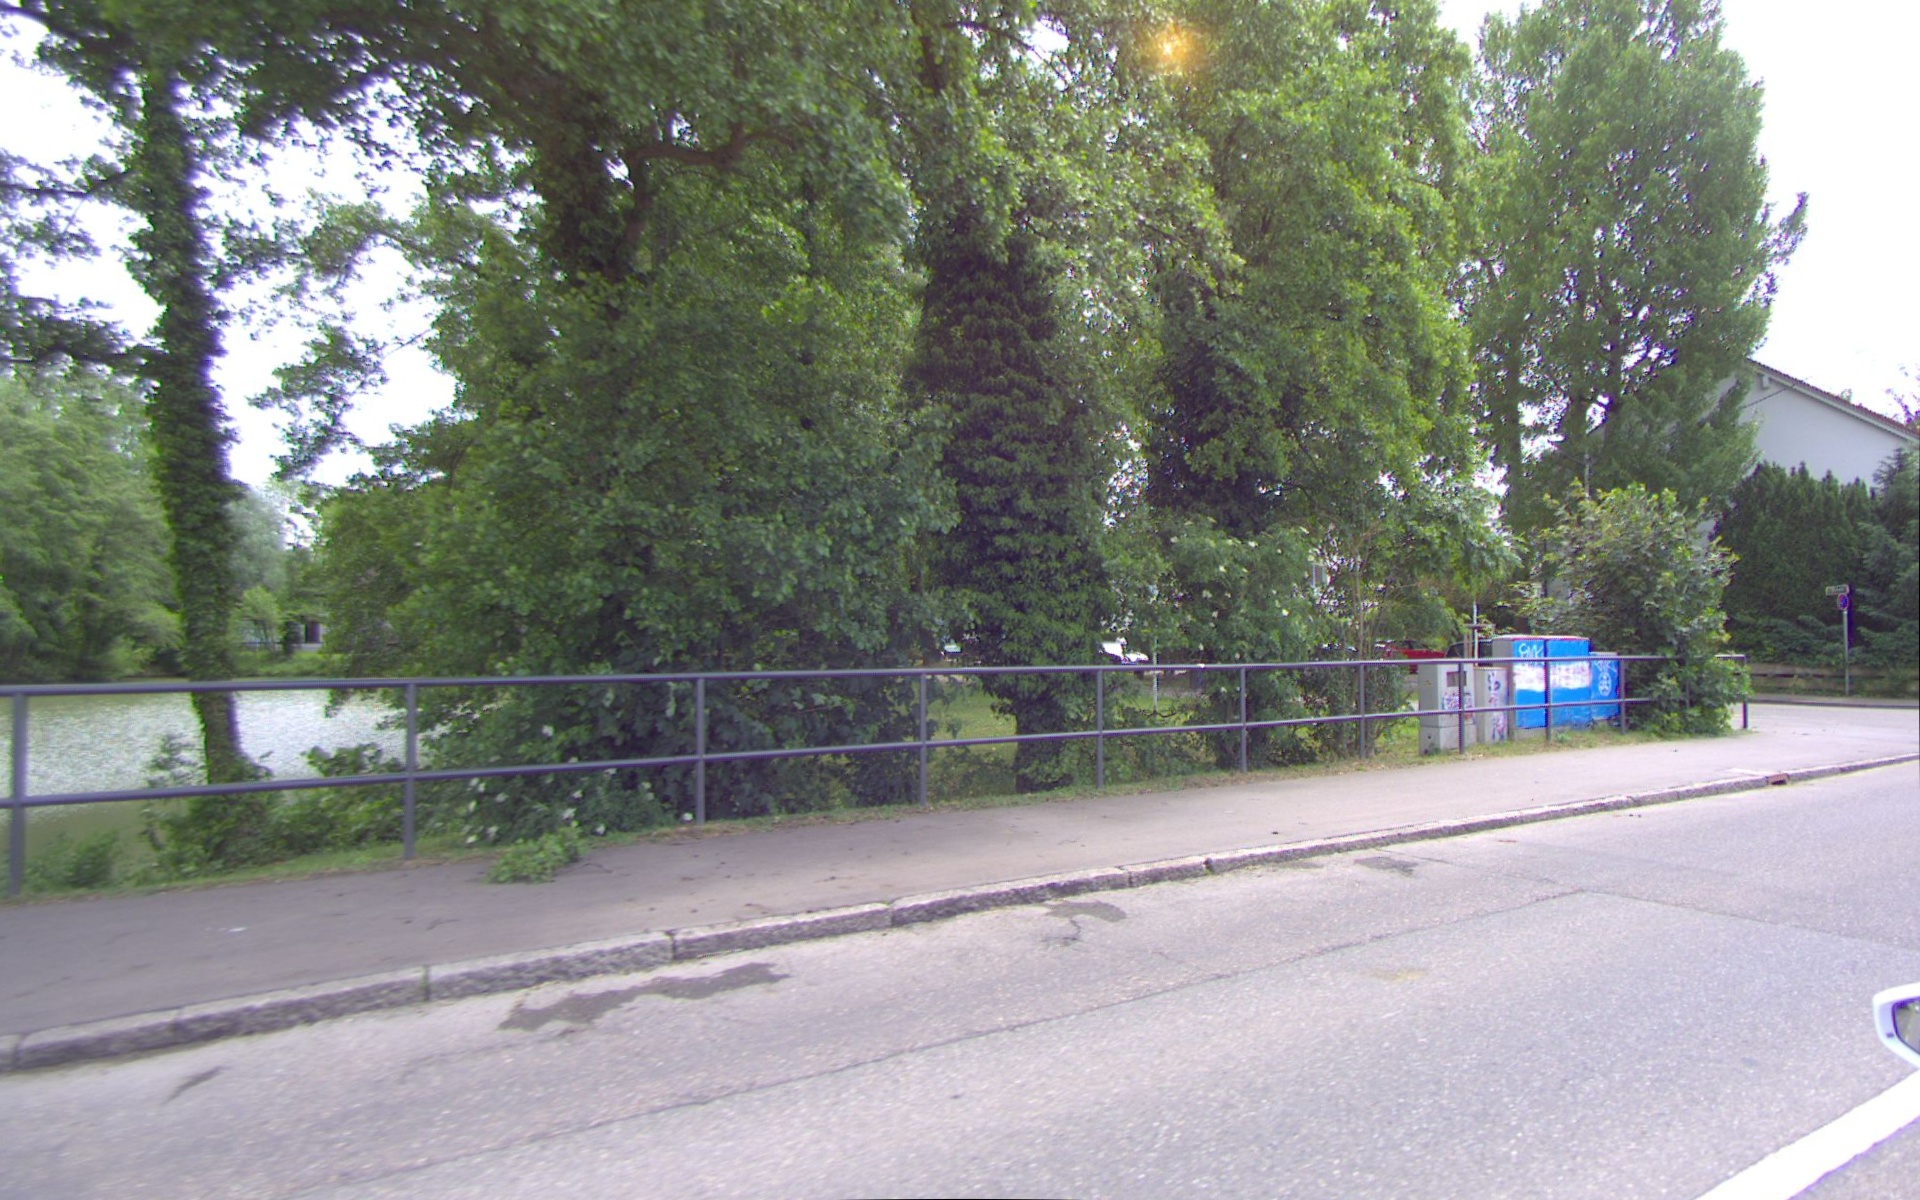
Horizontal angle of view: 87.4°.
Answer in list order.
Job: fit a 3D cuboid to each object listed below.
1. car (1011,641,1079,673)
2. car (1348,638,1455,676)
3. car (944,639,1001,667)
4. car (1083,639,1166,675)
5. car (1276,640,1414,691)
[{"bbox_3d":[4.385,2.936,52.302,1.928,1.499,3.978,1,-1,-23],"label":"car"},{"bbox_3d":[18.203,2.323,41.434,3.942,1.406,1.833,-1,-3,-23],"label":"car"},{"bbox_3d":[0.663,3.081,58.854,1.928,1.499,3.978,1,-1,-23],"label":"car"},{"bbox_3d":[7.391,2.556,45.580,1.928,1.499,3.978,1,-1,-23],"label":"car"},{"bbox_3d":[12.475,2.081,32.797,1.818,1.537,3.970,1,-2,-29],"label":"car"}]
